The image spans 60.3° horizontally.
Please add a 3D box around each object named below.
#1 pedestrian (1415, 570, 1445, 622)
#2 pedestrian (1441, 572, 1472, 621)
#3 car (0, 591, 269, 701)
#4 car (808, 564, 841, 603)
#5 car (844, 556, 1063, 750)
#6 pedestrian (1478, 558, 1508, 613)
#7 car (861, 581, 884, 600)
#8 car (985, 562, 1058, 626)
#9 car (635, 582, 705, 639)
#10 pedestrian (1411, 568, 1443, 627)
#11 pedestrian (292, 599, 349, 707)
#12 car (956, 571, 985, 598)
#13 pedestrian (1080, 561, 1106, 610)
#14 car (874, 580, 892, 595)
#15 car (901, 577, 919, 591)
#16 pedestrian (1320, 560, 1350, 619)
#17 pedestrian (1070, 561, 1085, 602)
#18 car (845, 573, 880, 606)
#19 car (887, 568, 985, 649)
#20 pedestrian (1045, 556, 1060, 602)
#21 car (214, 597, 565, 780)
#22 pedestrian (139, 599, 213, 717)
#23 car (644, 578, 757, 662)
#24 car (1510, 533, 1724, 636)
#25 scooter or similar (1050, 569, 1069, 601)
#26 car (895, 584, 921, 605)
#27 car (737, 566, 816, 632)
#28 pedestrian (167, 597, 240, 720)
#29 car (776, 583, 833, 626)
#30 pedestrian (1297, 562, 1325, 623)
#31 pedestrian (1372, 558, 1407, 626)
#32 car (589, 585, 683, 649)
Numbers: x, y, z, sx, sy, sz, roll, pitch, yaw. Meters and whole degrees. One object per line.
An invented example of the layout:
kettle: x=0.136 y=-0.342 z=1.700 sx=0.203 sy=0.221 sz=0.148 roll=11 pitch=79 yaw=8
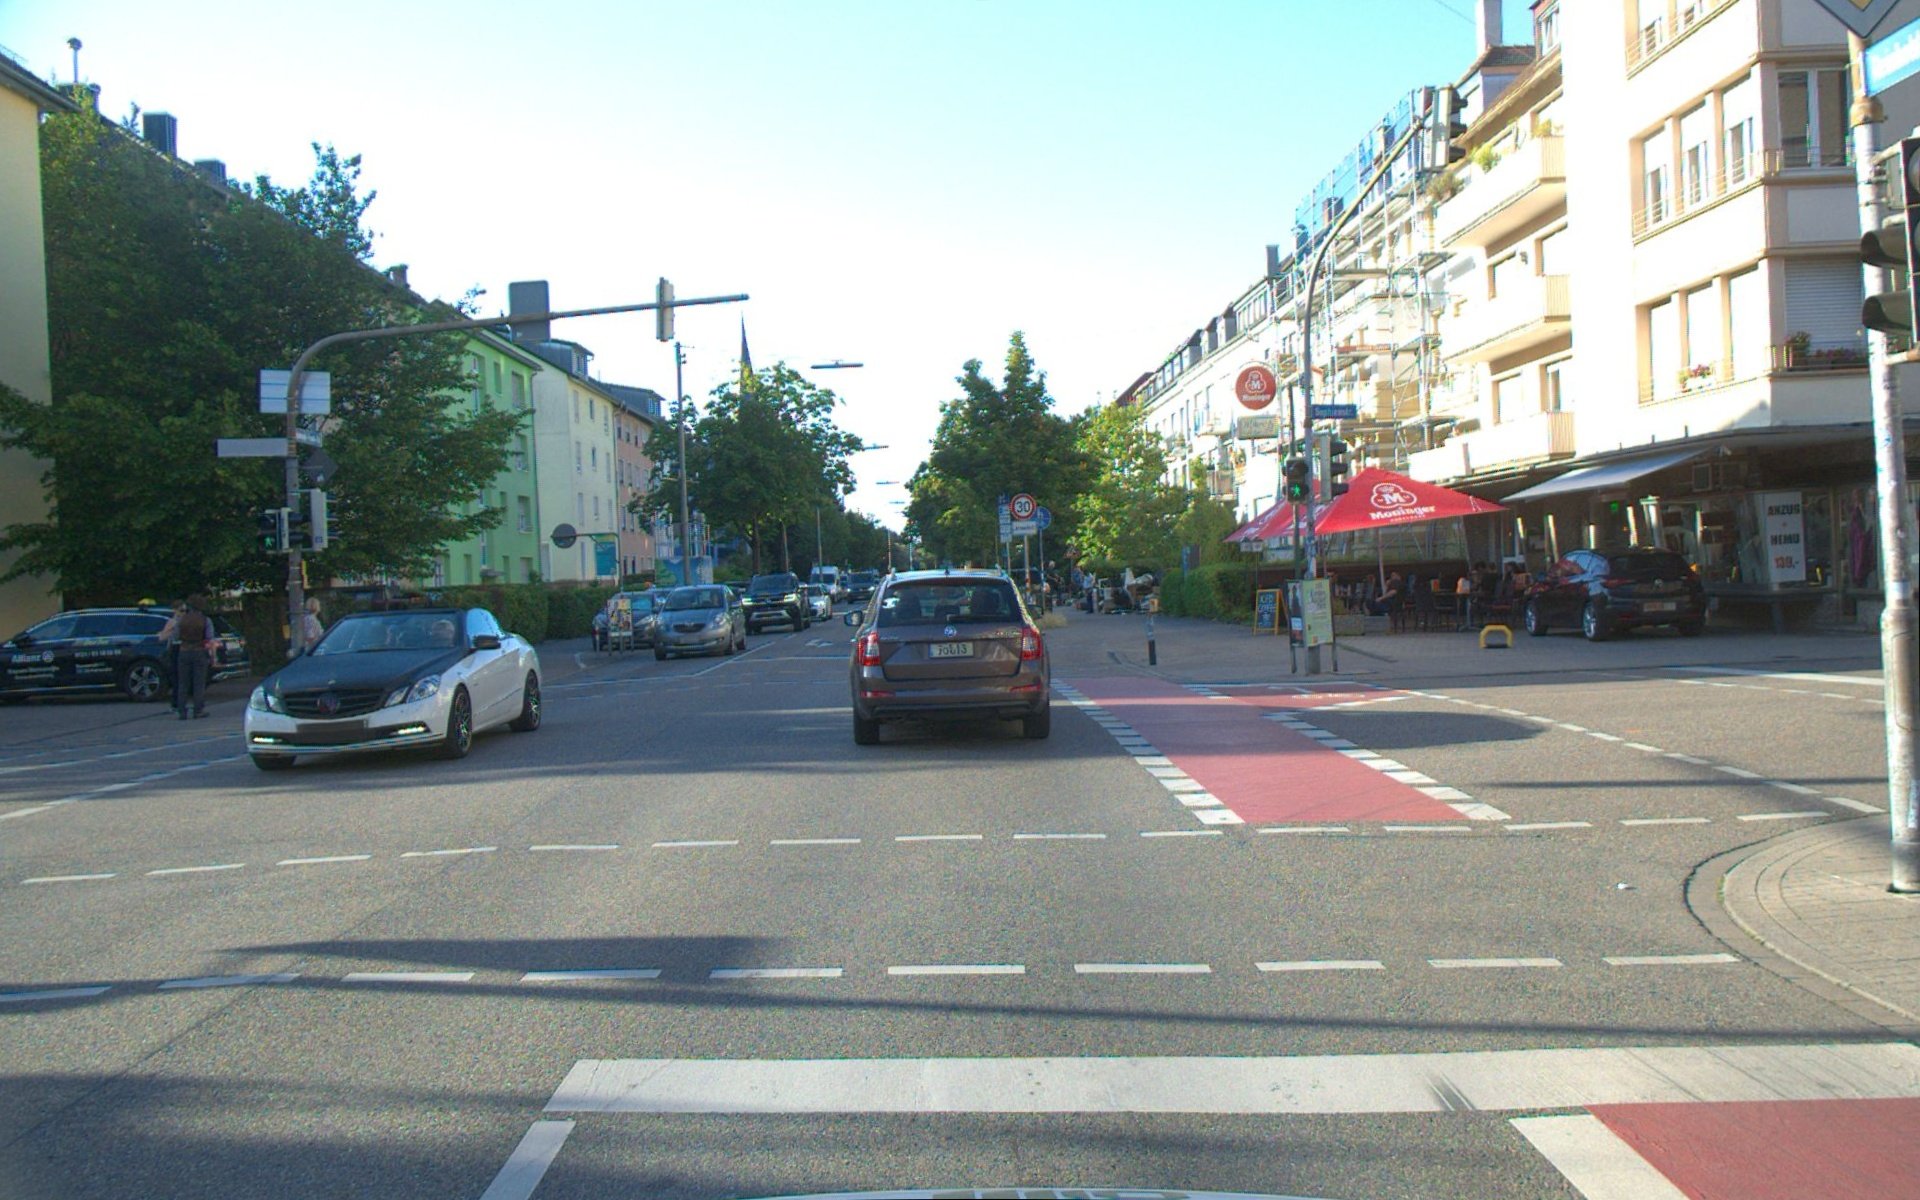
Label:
pedestrian: x=9.942 y=-0.088 z=35.010 sx=0.513 sy=1.067 sz=0.413 roll=-2 pitch=0 yaw=4
pedestrian: x=10.504 y=-0.081 z=34.988 sx=0.513 sy=1.008 sz=0.413 roll=-2 pitch=0 yaw=4
car: x=-13.908 y=0.730 z=26.917 sx=4.500 sy=1.642 sz=1.842 roll=-1 pitch=1 yaw=-4
car: x=-9.787 y=-1.236 z=119.639 sx=1.953 sy=2.662 sz=7.103 roll=-1 pitch=1 yaw=-2
car: x=-0.035 y=0.390 z=15.186 sx=1.718 sy=1.518 sz=4.000 roll=-1 pitch=1 yaw=0
pedestrian: x=11.976 y=-0.319 z=37.142 sx=0.513 sy=1.210 sz=0.413 roll=-2 pitch=-1 yaw=4
car: x=-7.628 y=-0.866 z=144.779 sx=1.796 sy=1.495 sz=4.450 roll=-5 pitch=1 yaw=-2
car: x=1.716 y=-0.200 z=47.278 sx=1.756 sy=1.660 sz=4.028 roll=-2 pitch=1 yaw=-2
car: x=-8.698 y=0.280 z=49.821 sx=1.605 sy=1.579 sz=3.783 roll=-3 pitch=1 yaw=-4
pedestrian: x=9.472 y=-0.058 z=33.551 sx=0.513 sy=1.170 sz=0.413 roll=-2 pitch=0 yaw=4
pedestrian: x=-9.762 y=0.798 z=25.268 sx=0.594 sy=1.622 sz=0.749 roll=1 pitch=-1 yaw=-4
car: x=0.642 y=-1.043 z=106.912 sx=1.684 sy=1.629 sz=4.095 roll=-3 pitch=1 yaw=-2
pedestrian: x=4.403 y=-0.482 z=54.700 sx=0.547 sy=1.595 sz=0.744 roll=-3 pitch=1 yaw=-19
car: x=-8.474 y=-1.374 z=182.510 sx=1.665 sy=1.496 sz=4.295 roll=-4 pitch=1 yaw=1
car: x=-6.659 y=-2.105 z=220.560 sx=1.956 sy=1.780 sz=3.995 roll=-3 pitch=1 yaw=-6
pedestrian: x=7.548 y=-0.210 z=33.314 sx=0.476 sy=1.170 sz=0.526 roll=-2 pitch=0 yaw=3
pedestrian: x=4.946 y=-0.778 z=69.628 sx=0.500 sy=1.726 sz=0.526 roll=-2 pitch=1 yaw=-6
car: x=-6.402 y=-0.714 z=108.972 sx=1.954 sy=1.979 sz=4.776 roll=-5 pitch=1 yaw=-1
car: x=-0.518 y=0.181 z=33.837 sx=1.854 sy=1.533 sz=3.788 roll=1 pitch=0 yaw=-2
pedestrian: x=3.887 y=-0.881 z=69.336 sx=0.537 sy=1.881 sz=0.765 roll=-2 pitch=1 yaw=5
car: x=-5.214 y=0.720 z=15.815 sx=1.804 sy=1.343 sz=4.441 roll=-3 pitch=1 yaw=-1
pedestrian: x=-11.417 y=0.831 z=24.083 sx=0.596 sy=1.658 sz=0.747 roll=1 pitch=2 yaw=35
car: x=-5.580 y=0.386 z=36.010 sx=1.768 sy=1.584 sz=3.999 roll=-4 pitch=1 yaw=-1
car: x=10.856 y=-0.260 z=27.653 sx=1.791 sy=1.510 sz=4.203 roll=-3 pitch=1 yaw=-1
scooter or similar: x=4.162 y=-0.630 z=69.319 sx=0.730 sy=1.340 sz=0.721 roll=-2 pitch=1 yaw=5
car: x=-3.893 y=-0.441 z=123.832 sx=1.746 sy=1.506 sz=3.968 roll=-1 pitch=1 yaw=-4
car: x=-5.715 y=-0.065 z=52.120 sx=1.824 sy=1.861 sz=5.227 roll=-4 pitch=1 yaw=0
pedestrian: x=-10.756 y=0.821 z=23.539 sx=0.733 sy=1.686 sz=0.607 roll=-3 pitch=0 yaw=-8
car: x=-6.096 y=0.137 z=65.145 sx=1.800 sy=1.499 sz=4.670 roll=-4 pitch=1 yaw=-1
pedestrian: x=6.852 y=-0.151 z=32.273 sx=0.403 sy=1.170 sz=0.632 roll=-2 pitch=0 yaw=3
pedestrian: x=8.414 y=-0.165 z=32.418 sx=0.513 sy=1.305 sz=0.540 roll=-2 pitch=0 yaw=1
car: x=-8.456 y=0.396 z=43.404 sx=1.620 sy=1.505 sz=3.943 roll=-3 pitch=1 yaw=0
